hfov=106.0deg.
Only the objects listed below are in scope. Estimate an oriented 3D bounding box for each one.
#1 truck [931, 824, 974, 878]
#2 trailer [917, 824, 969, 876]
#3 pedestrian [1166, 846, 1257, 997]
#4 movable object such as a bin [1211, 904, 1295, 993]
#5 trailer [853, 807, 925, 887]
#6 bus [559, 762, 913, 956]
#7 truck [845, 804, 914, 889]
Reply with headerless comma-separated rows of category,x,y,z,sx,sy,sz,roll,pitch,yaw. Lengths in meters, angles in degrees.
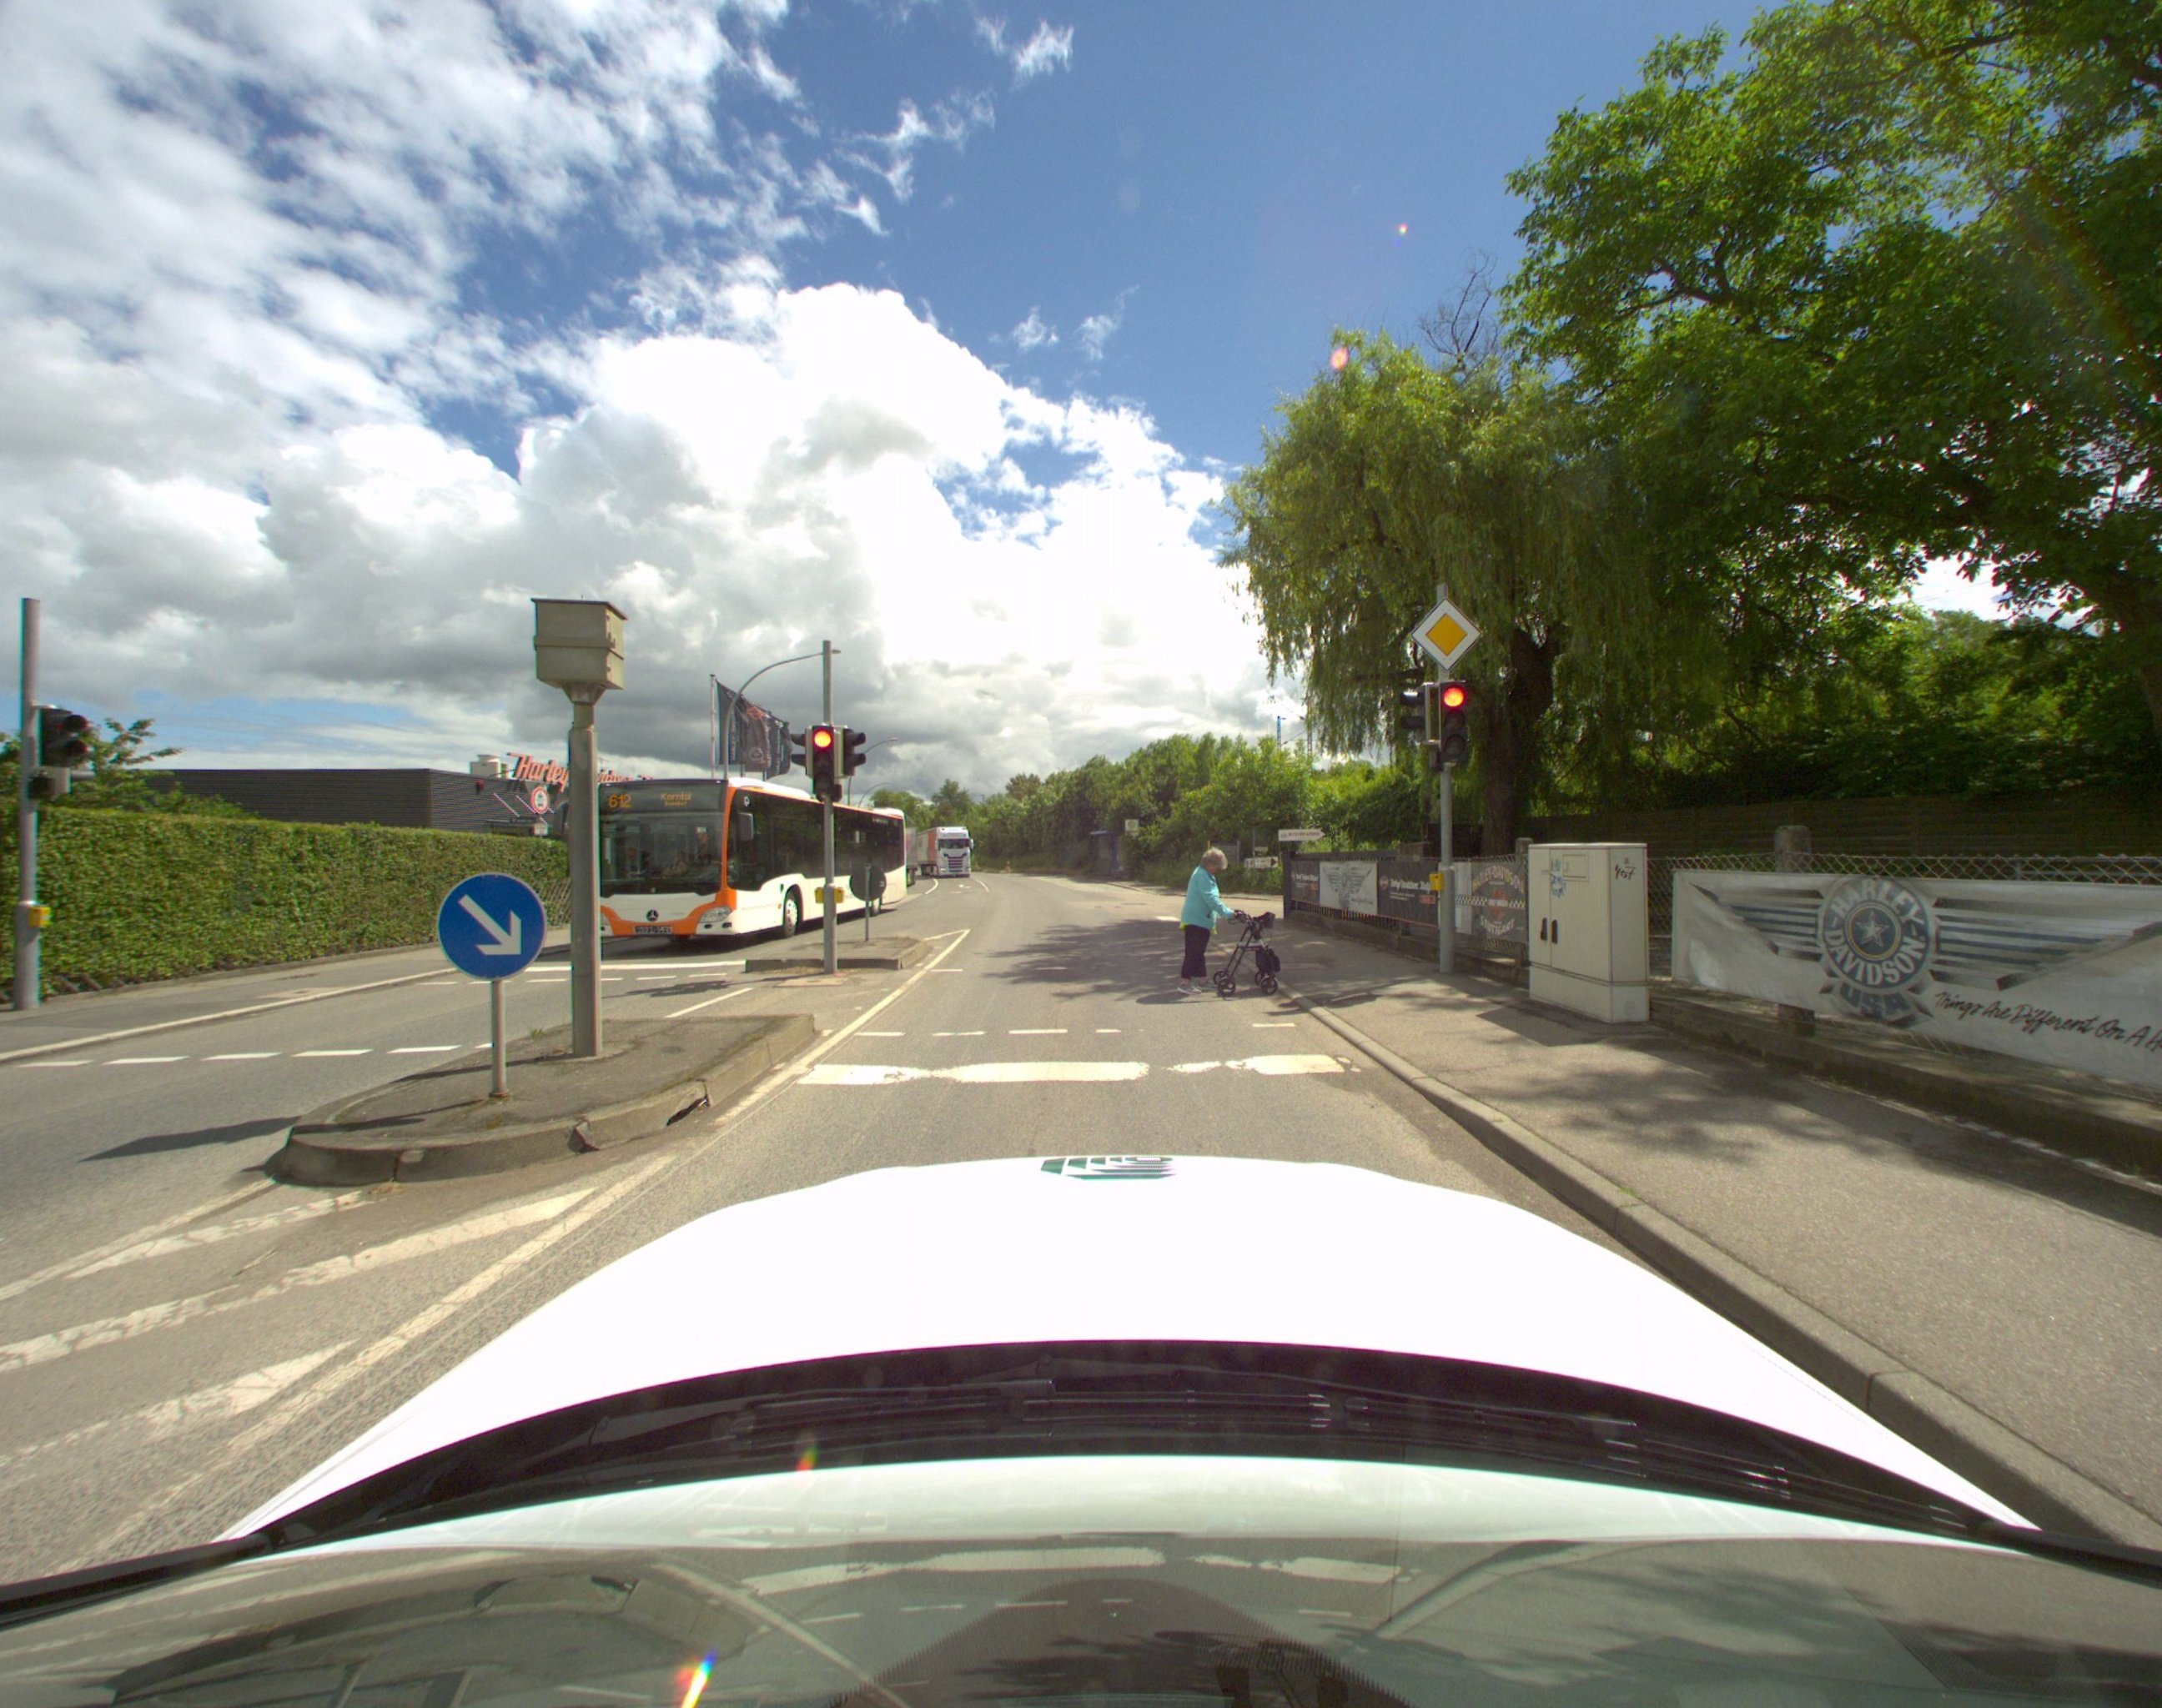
truck,-10.360,-0.203,65.111,2.777,4.119,4.958,0,-1,-17
trailer,-12.403,-0.259,72.038,2.777,4.145,15.264,0,-1,-16
pedestrian,1.382,0.699,8.744,0.836,1.543,0.733,0,-1,-2
movable object such as a bin,1.834,0.992,8.746,0.744,0.871,0.670,0,-1,-2
trailer,-11.307,-0.290,49.441,2.797,4.053,15.512,0,0,-8
bus,-6.812,0.128,19.216,2.708,3.031,12.270,-2,-1,2
truck,-10.347,-0.353,42.426,2.797,4.053,6.483,0,-1,-8
